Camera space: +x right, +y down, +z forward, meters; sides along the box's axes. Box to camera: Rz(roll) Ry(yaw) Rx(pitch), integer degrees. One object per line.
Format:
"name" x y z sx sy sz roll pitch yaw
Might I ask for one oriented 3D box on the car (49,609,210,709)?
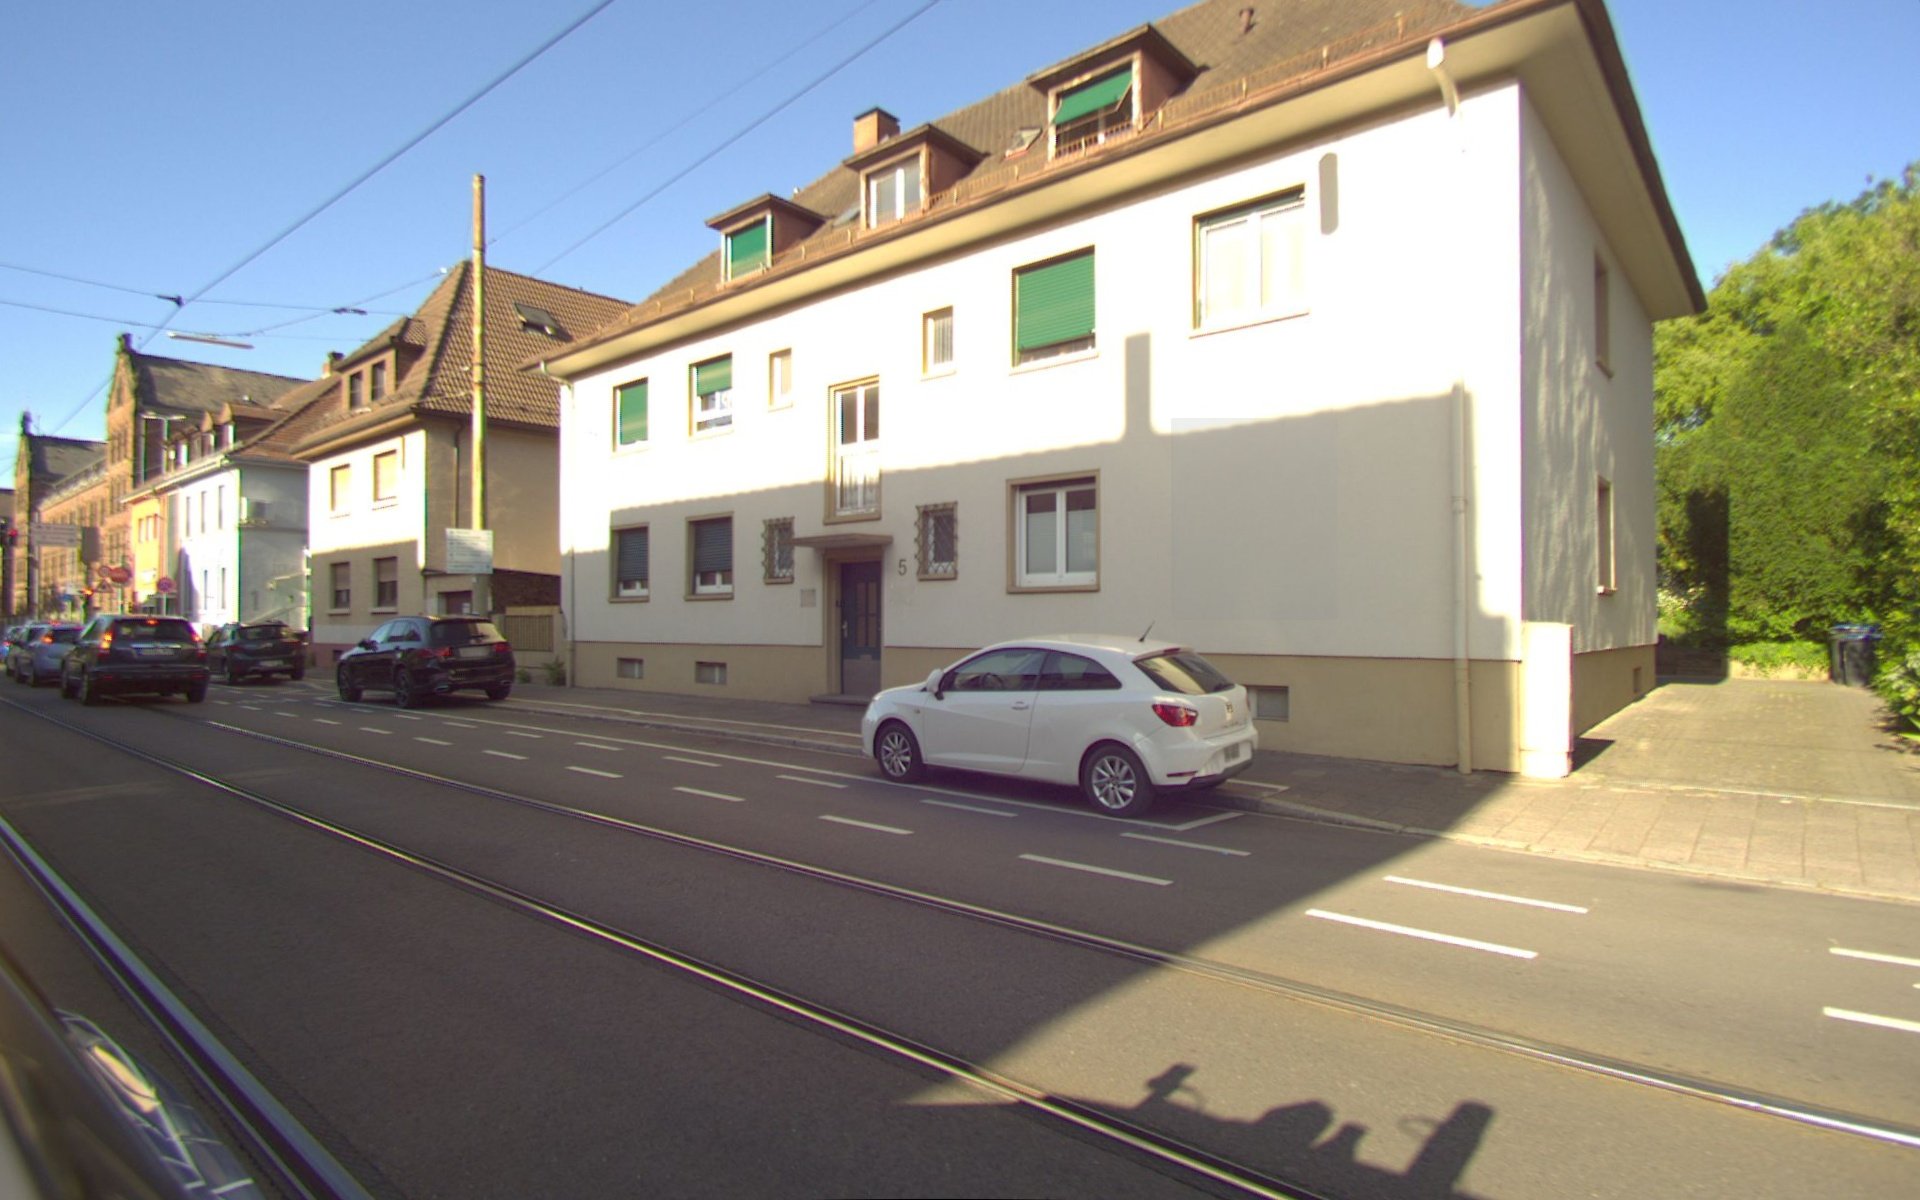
"car" -16.121 1.086 19.573 4.362 1.718 1.686 -1 -3 41

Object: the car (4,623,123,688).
"car" -22.061 1.322 24.866 4.072 1.472 1.601 -1 -3 40

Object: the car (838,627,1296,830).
"car" 0.831 0.997 9.333 4.014 1.468 1.614 -1 -3 41

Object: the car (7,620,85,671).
"car" -30.895 1.511 34.166 1.718 1.623 4.717 3 -3 -45

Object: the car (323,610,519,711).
"car" -10.391 1.095 19.372 4.552 1.718 1.744 -1 -3 40

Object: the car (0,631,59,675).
"car" -35.496 1.990 38.370 3.930 1.579 1.665 -2 -4 44

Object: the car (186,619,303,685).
"car" -19.175 1.352 27.074 3.918 1.640 1.599 -1 -3 40

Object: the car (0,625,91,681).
"car" -25.763 1.444 28.453 3.613 1.472 1.565 -1 -3 42
